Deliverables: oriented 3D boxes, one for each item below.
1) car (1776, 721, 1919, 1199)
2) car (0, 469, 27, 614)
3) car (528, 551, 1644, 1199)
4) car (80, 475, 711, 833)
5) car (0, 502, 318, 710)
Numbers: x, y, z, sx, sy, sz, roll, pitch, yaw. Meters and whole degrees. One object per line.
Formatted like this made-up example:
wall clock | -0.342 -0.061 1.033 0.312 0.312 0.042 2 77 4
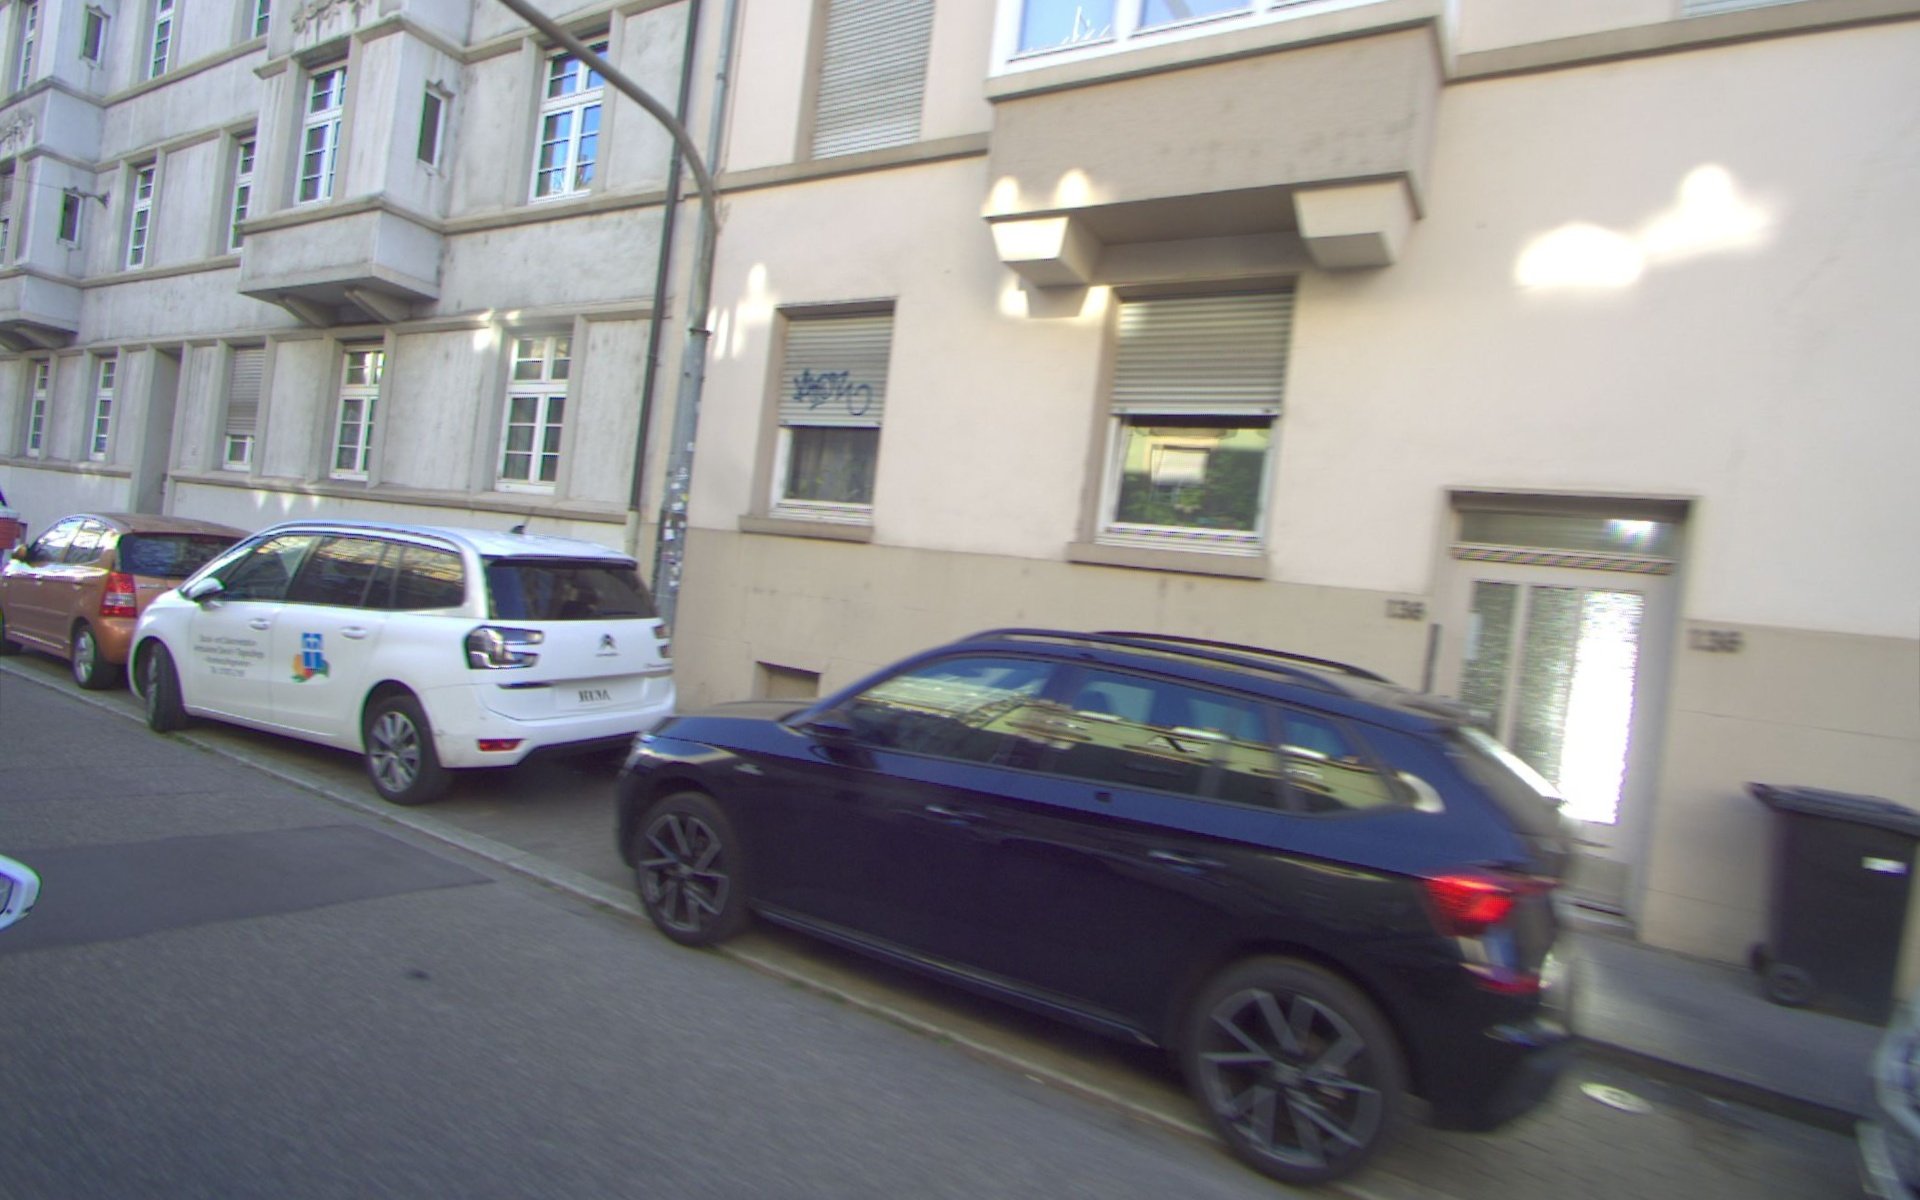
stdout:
car | 4.374 1.361 1.737 4.255 1.595 1.786 7 -1 32
car | -14.652 -1.033 13.597 4.609 1.849 1.733 7 -1 32
car | 0.255 0.829 4.375 4.266 1.585 1.657 7 -1 32
car | -4.208 0.232 7.328 4.522 1.773 1.659 7 -1 27
car | -8.067 0.006 9.763 3.540 1.579 1.617 7 -1 32
